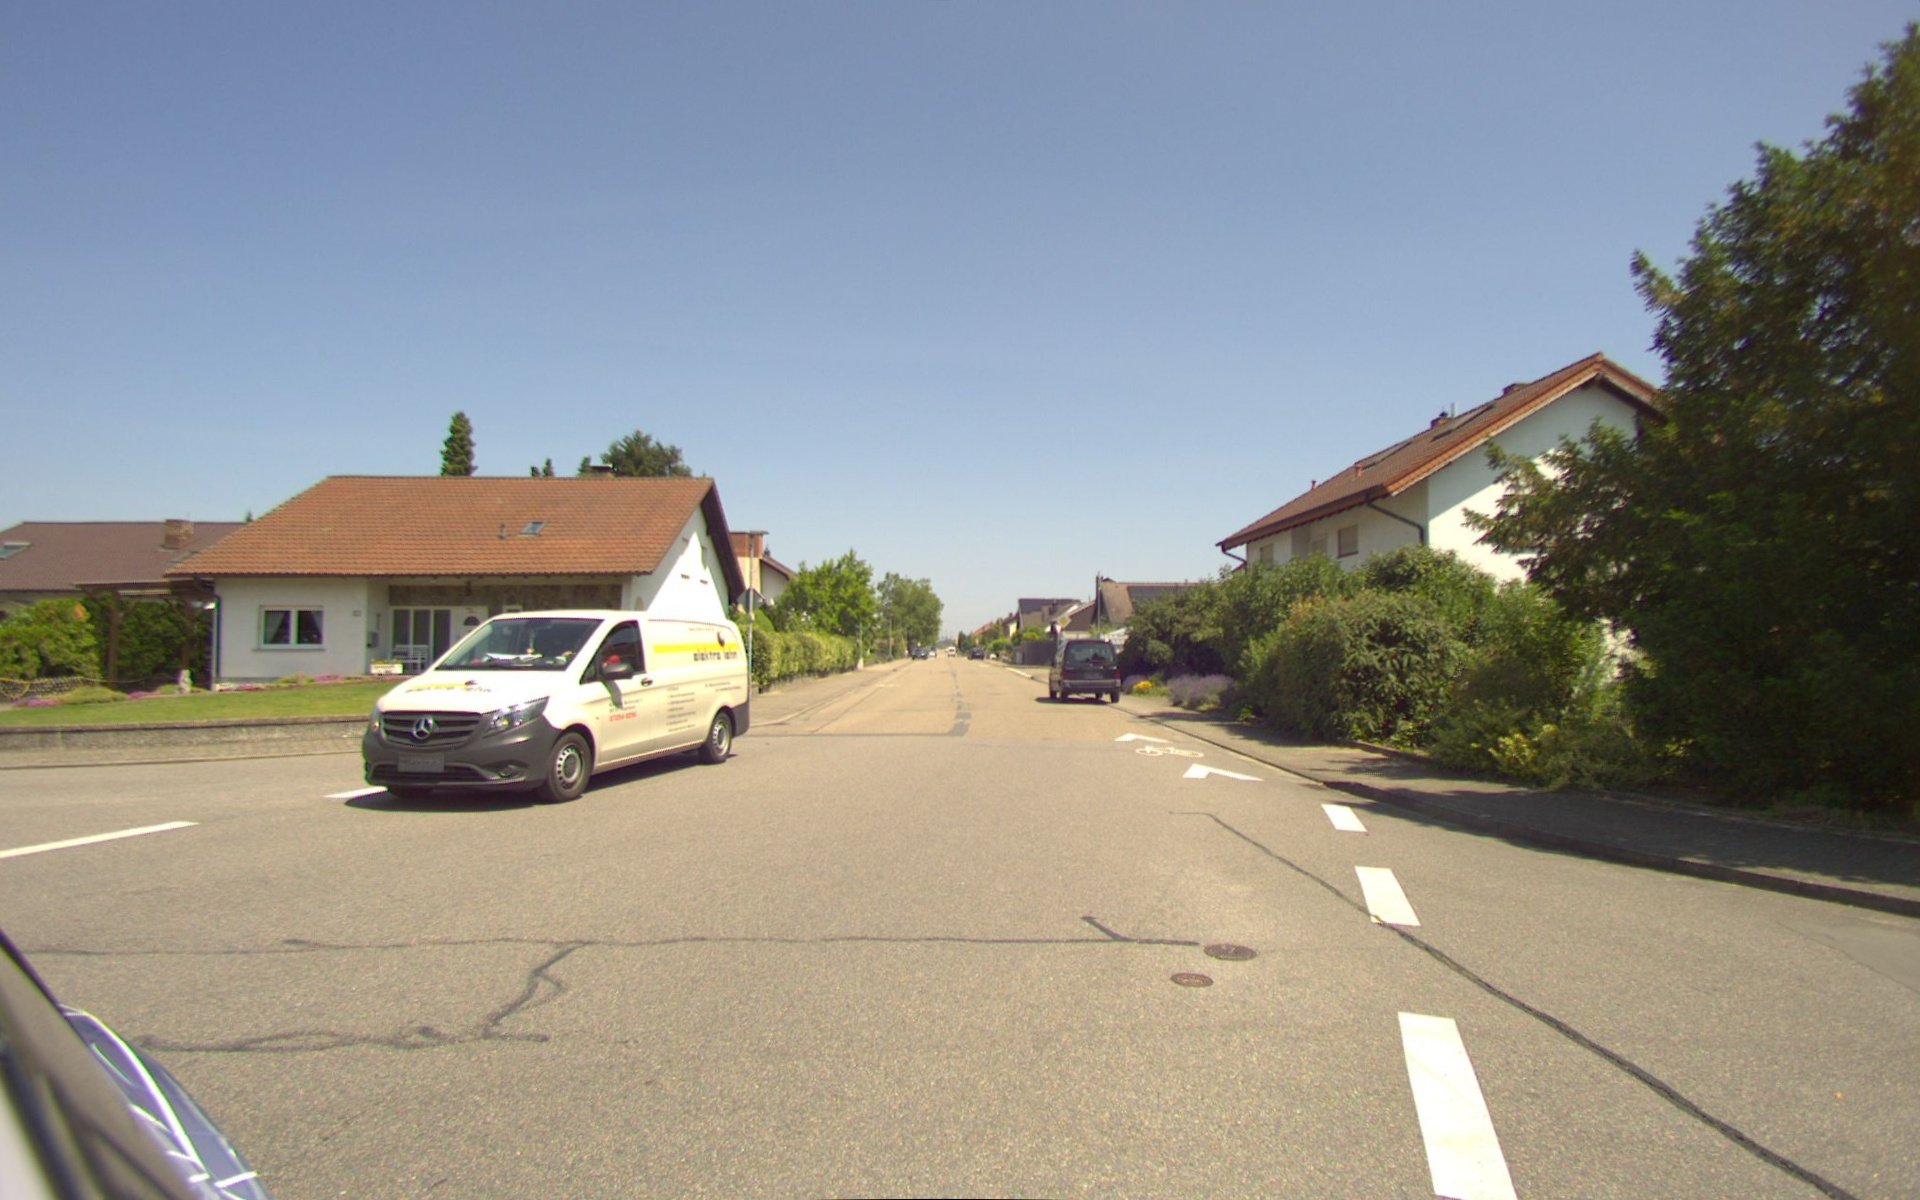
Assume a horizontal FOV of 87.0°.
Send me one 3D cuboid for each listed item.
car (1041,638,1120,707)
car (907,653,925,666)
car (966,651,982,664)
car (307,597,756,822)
[{"bbox_3d":[3.434,2.074,29.561,1.699,1.860,4.055,0,-3,-2],"label":"car"},{"bbox_3d":[-5.540,7.454,126.449,1.973,1.608,3.997,0,-3,2],"label":"car"},{"bbox_3d":[1.784,7.259,128.458,1.973,1.608,3.997,0,-3,2],"label":"car"},{"bbox_3d":[-4.213,1.028,11.140,1.999,1.871,5.047,0,-3,12],"label":"car"}]
